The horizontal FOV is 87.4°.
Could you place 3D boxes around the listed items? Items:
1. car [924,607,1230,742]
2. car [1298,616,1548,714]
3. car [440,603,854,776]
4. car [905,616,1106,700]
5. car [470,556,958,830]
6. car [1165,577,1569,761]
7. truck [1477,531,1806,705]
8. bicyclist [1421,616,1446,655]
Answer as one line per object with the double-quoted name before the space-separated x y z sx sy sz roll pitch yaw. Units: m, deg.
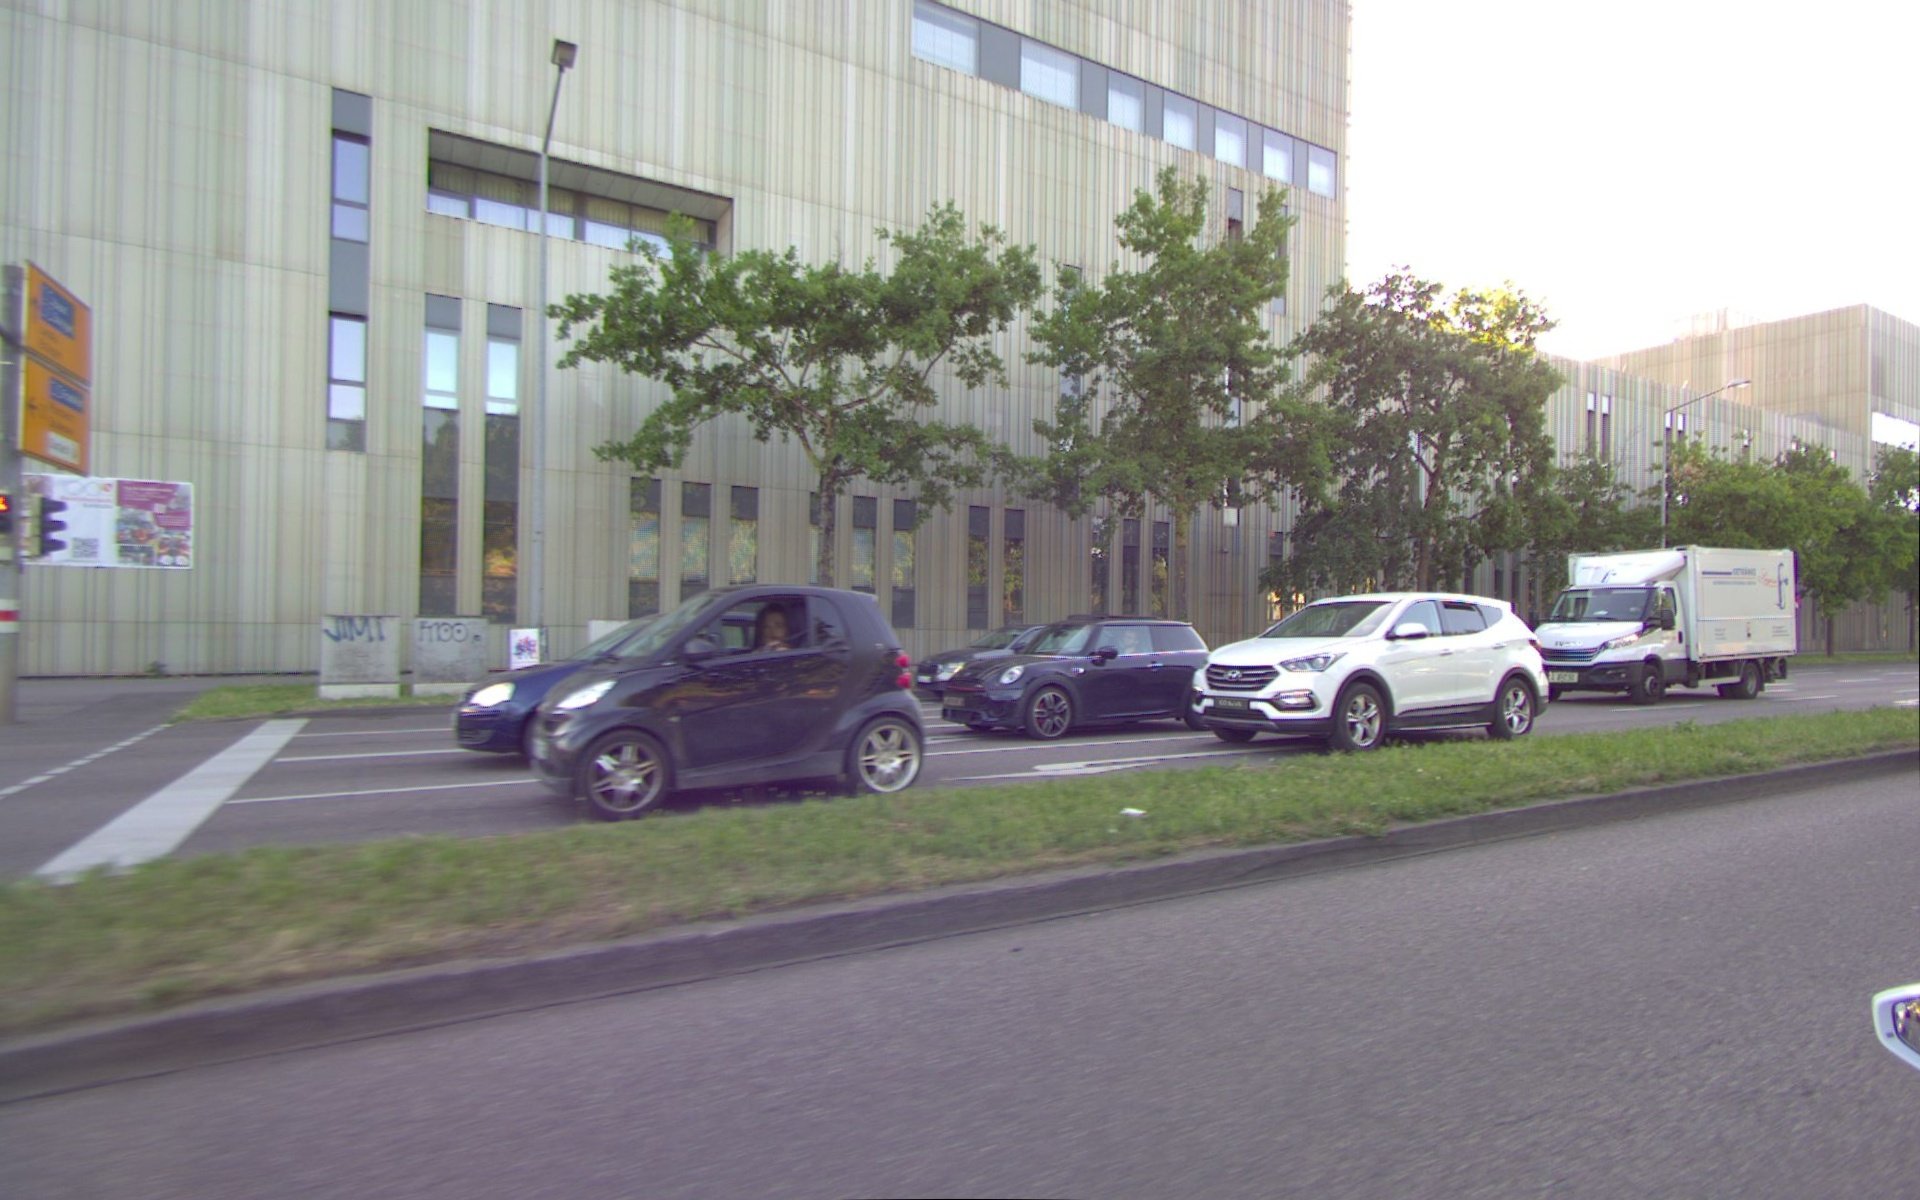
"car" 1.506 0.877 12.672 3.596 1.489 1.613 1 -2 -30
"car" 7.644 1.001 16.537 3.953 1.443 1.827 1 -2 -31
"car" -3.115 0.805 10.176 3.711 1.460 1.694 1 -2 -32
"car" 0.915 1.079 19.614 3.692 1.482 1.598 1 -1 -33
"car" -1.780 0.599 7.372 3.174 1.601 1.594 2 -2 -30
"car" 4.665 0.727 11.324 4.605 1.704 1.815 2 -3 -31
"truck" 13.807 0.432 20.219 7.029 2.999 2.674 2 -2 -30
"bicyclist" 18.012 1.356 38.218 0.744 1.461 0.505 1 -1 -31
